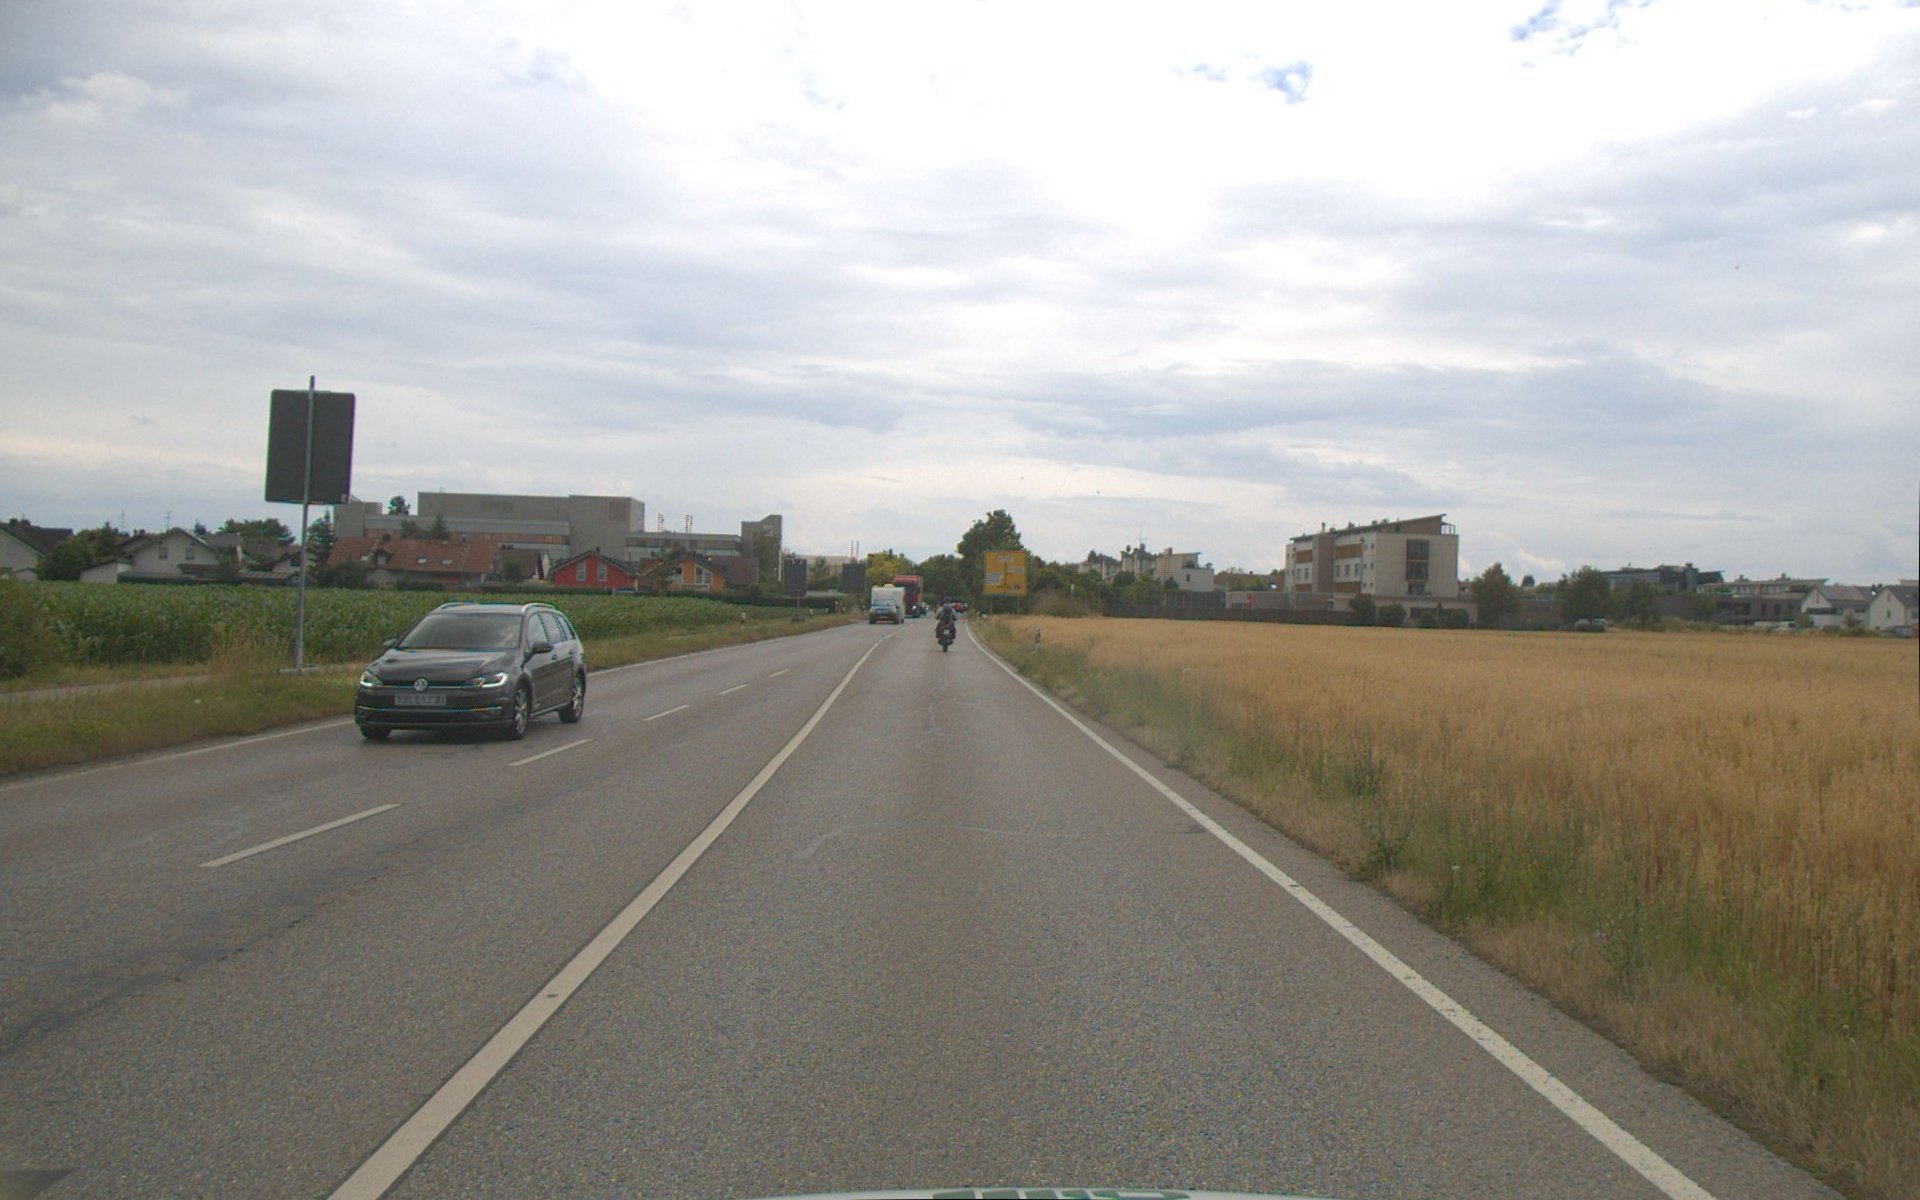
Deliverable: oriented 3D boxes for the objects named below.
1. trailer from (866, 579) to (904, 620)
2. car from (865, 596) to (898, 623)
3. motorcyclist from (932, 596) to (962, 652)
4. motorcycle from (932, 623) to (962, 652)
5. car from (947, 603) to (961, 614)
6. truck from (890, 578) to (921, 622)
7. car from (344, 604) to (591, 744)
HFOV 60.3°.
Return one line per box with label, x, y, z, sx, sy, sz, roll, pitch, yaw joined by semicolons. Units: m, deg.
trailer;-5.348;-0.034;118.979;2.276;2.777;7.842;1;0;0
car;-5.339;0.628;112.888;1.953;1.729;4.675;1;0;0
motorcyclist;-0.416;0.793;54.359;0.922;1.780;1.200;2;-1;0
motorcycle;-0.417;1.225;54.244;0.922;0.905;2.145;2;-1;0
car;-0.845;1.136;219.161;1.817;1.498;4.000;2;0;0
truck;-5.241;0.040;159.502;2.673;4.057;6.816;1;-1;0
car;-5.605;0.785;19.361;1.635;1.454;4.302;0;0;-1
